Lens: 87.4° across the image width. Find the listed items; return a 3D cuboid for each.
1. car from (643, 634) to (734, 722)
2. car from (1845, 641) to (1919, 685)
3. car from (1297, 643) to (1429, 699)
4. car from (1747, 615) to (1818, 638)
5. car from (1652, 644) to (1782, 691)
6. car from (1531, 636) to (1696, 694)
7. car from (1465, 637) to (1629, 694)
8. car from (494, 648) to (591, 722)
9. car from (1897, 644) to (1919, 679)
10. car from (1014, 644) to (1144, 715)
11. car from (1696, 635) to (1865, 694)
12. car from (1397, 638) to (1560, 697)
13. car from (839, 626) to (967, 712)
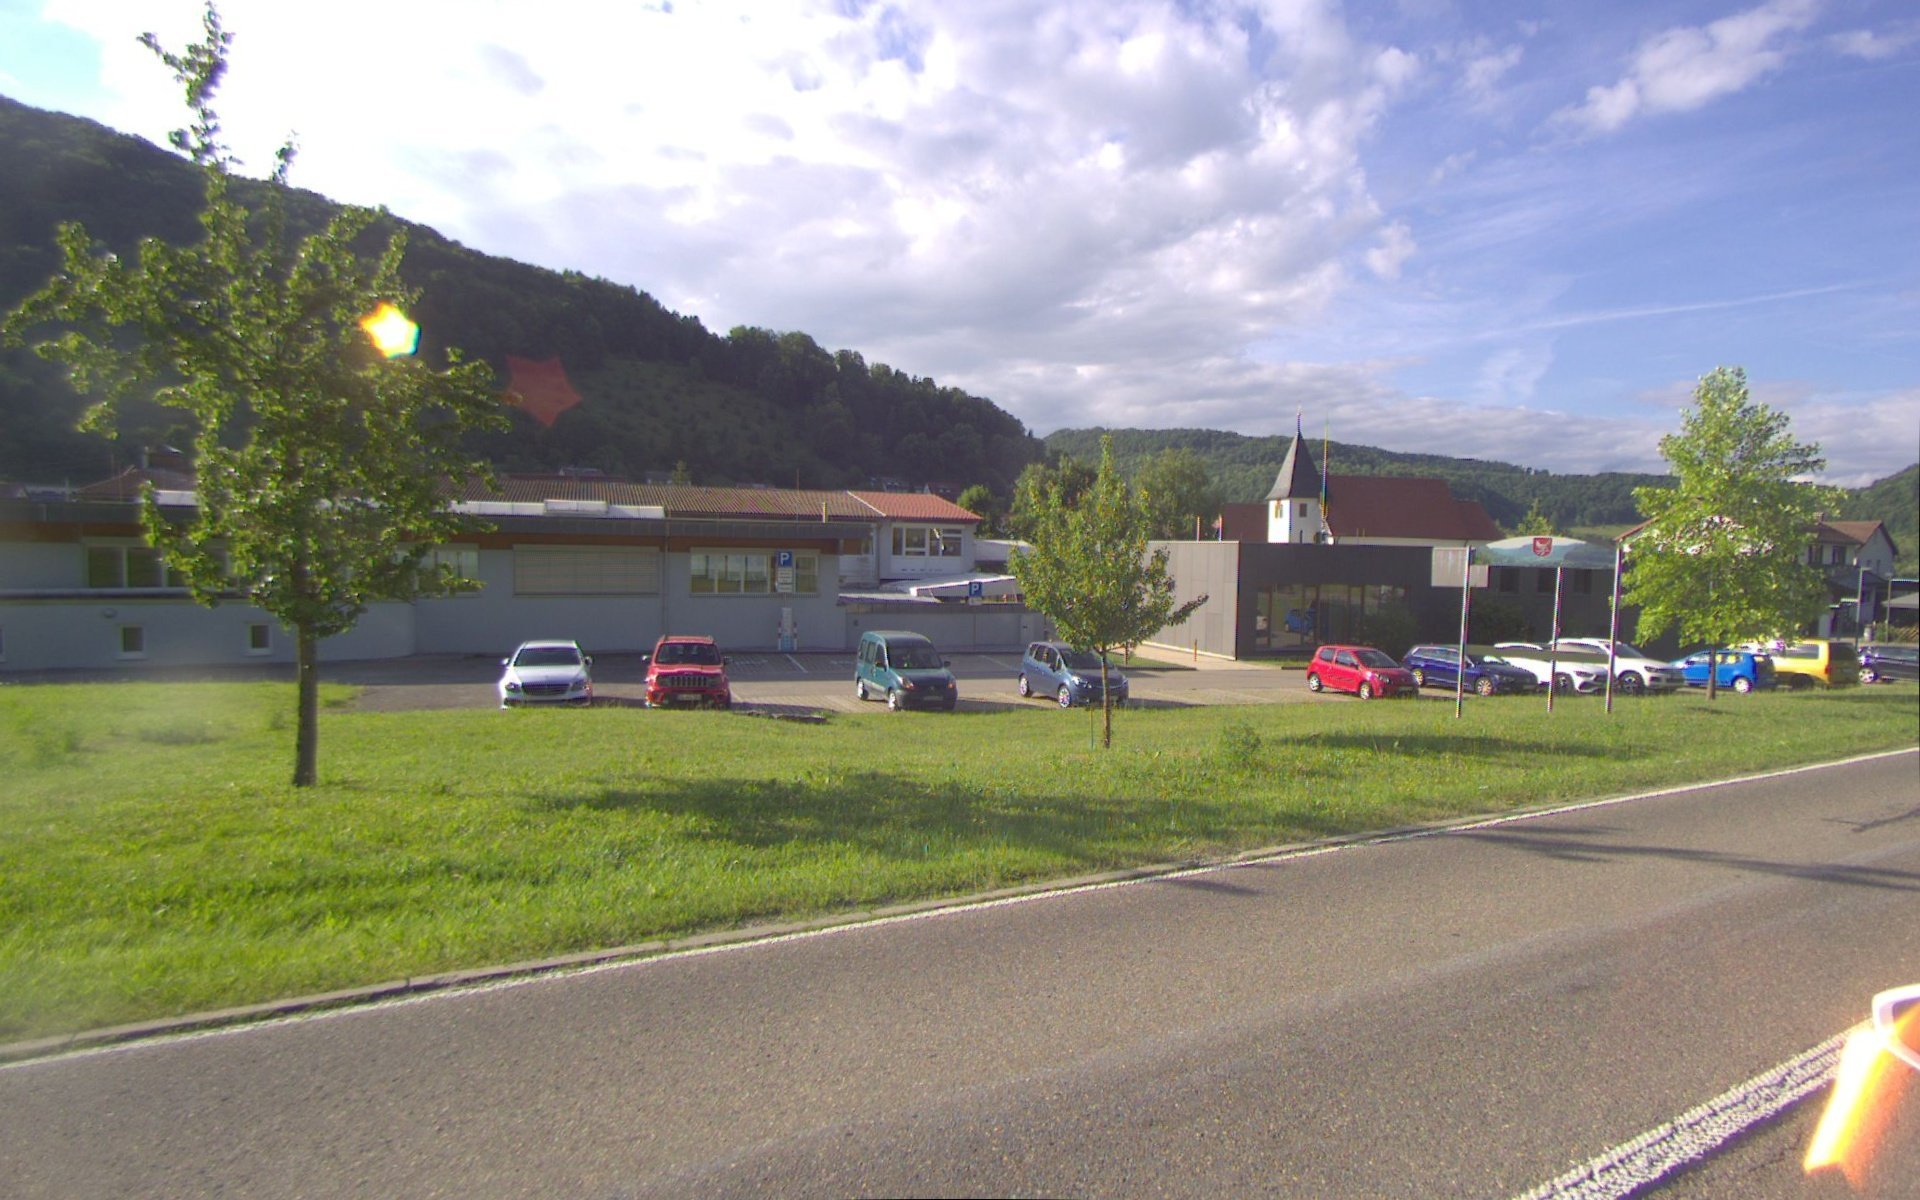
[{"bbox_3d":[-6.435,1.736,23.536,1.818,1.691,4.318,2,0,-17],"label":"car"},{"bbox_3d":[39.801,2.649,41.779,1.971,1.659,4.017,2,0,-22],"label":"car"},{"bbox_3d":[12.194,2.121,30.643,1.592,1.416,3.713,2,0,-22],"label":"car"},{"bbox_3d":[58.345,1.887,71.268,3.928,1.461,1.767,2,0,-10],"label":"car"},{"bbox_3d":[28.067,2.487,37.348,1.610,1.492,3.484,2,0,-24],"label":"car"},{"bbox_3d":[22.840,2.229,35.314,1.971,1.725,4.530,2,0,-22],"label":"car"},{"bbox_3d":[19.680,2.163,33.941,1.971,1.575,4.530,2,0,-22],"label":"car"},{"bbox_3d":[-9.369,1.857,22.782,1.825,1.386,3.880,2,-1,-21],"label":"car"},{"bbox_3d":[44.024,2.809,43.408,1.853,1.513,4.804,2,0,-22],"label":"car"},{"bbox_3d":[3.060,2.035,26.713,1.661,1.471,3.997,-1,1,-23],"label":"car"},{"bbox_3d":[30.735,2.360,37.820,1.969,1.893,4.606,2,0,-18],"label":"car"},{"bbox_3d":[16.744,2.154,32.713,1.971,1.575,4.530,2,0,-22],"label":"car"},{"bbox_3d":[-1.605,1.685,25.935,1.661,1.817,4.979,2,0,-23],"label":"car"}]
